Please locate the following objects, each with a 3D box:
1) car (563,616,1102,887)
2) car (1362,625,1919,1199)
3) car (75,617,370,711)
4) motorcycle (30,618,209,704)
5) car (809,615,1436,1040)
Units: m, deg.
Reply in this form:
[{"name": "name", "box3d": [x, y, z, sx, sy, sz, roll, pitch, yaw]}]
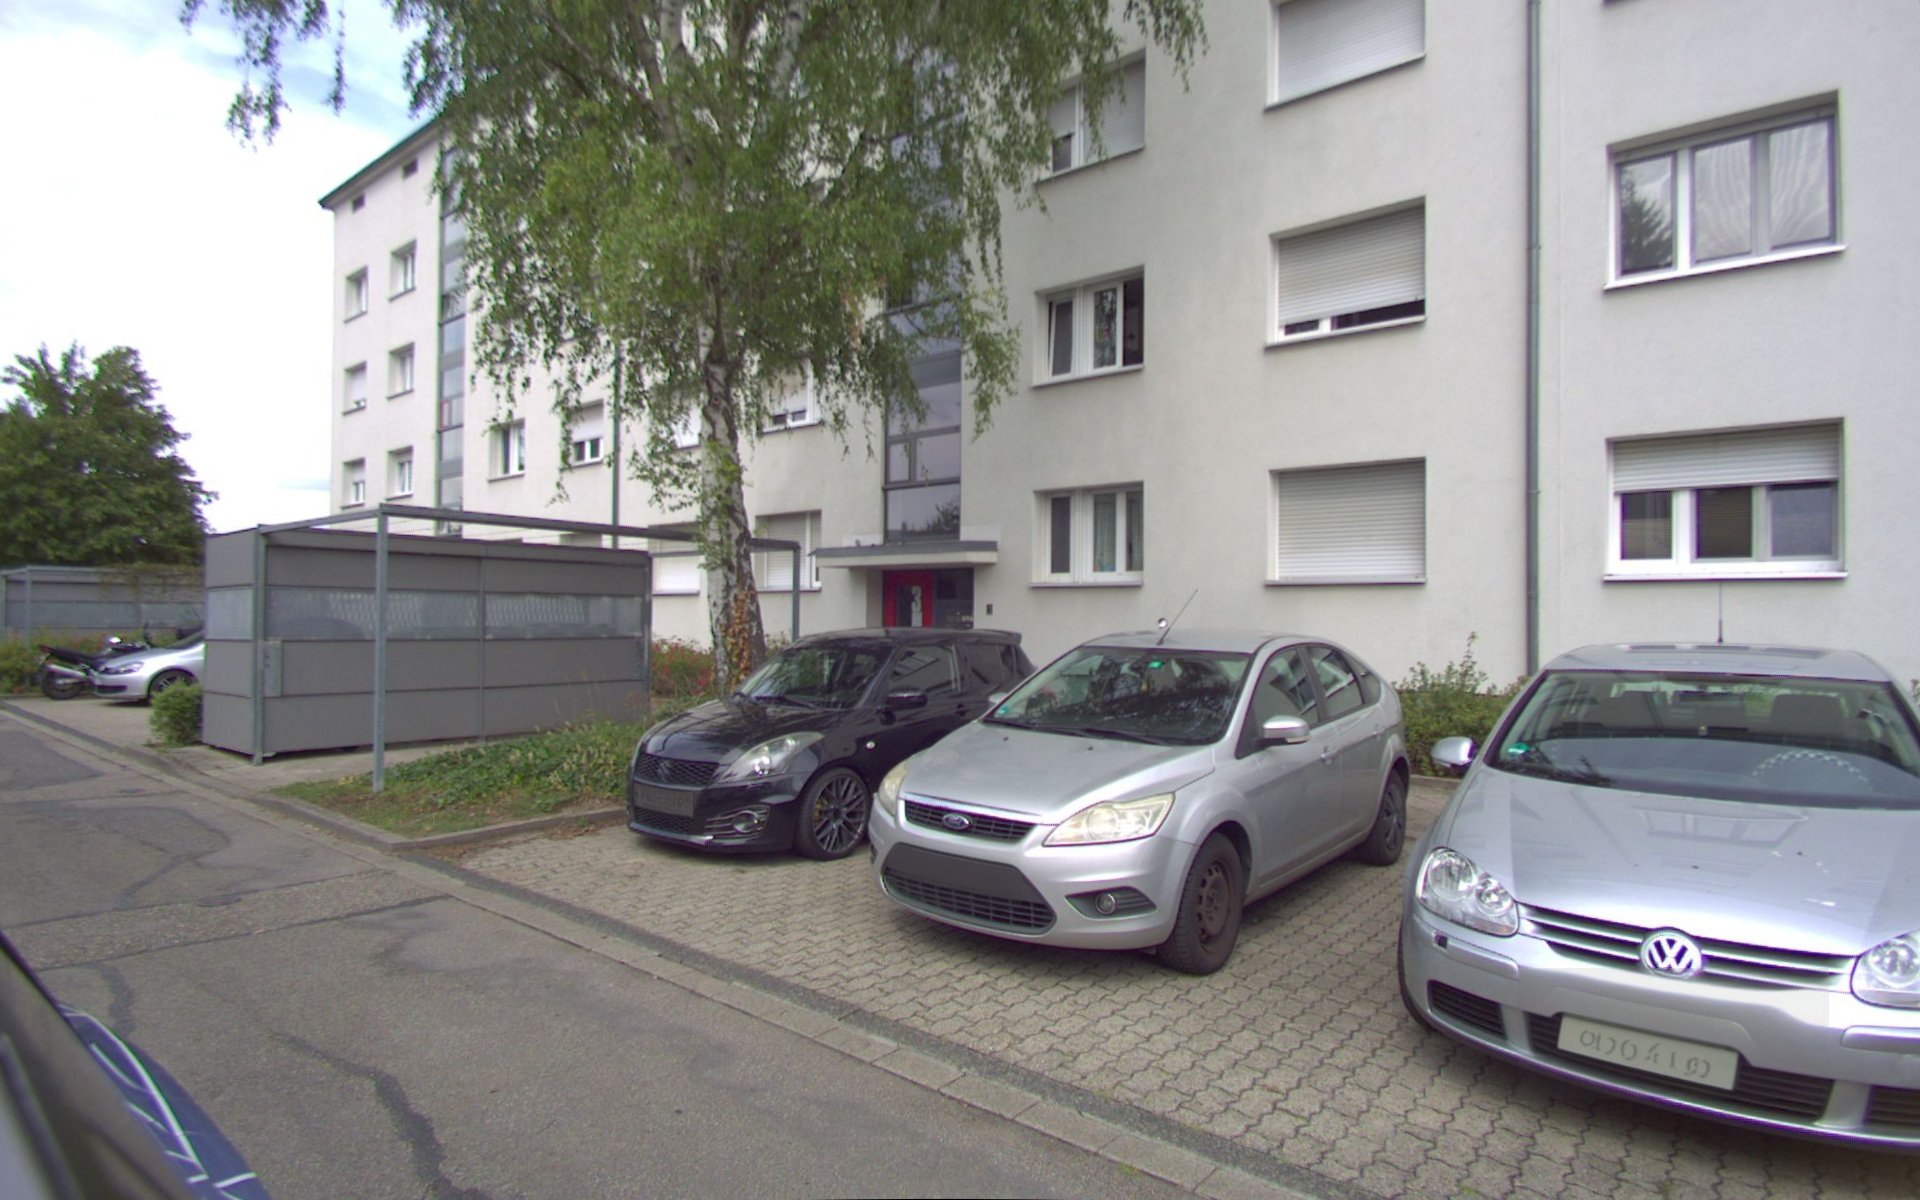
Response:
[{"name": "car", "box3d": [-0.714, 0.929, 7.820, 1.780, 1.516, 4.011, -1, -2, 39]}, {"name": "car", "box3d": [3.199, 0.881, 4.161, 1.780, 1.475, 4.011, -1, -2, 39]}, {"name": "car", "box3d": [-13.238, 1.150, 18.344, 1.901, 1.497, 3.945, -1, -4, 41]}, {"name": "motorcycle", "box3d": [-15.280, 1.118, 18.482, 0.713, 1.475, 2.353, -1, -4, 39]}, {"name": "car", "box3d": [1.243, 0.892, 5.774, 1.780, 1.516, 4.011, -1, -2, 39]}]
